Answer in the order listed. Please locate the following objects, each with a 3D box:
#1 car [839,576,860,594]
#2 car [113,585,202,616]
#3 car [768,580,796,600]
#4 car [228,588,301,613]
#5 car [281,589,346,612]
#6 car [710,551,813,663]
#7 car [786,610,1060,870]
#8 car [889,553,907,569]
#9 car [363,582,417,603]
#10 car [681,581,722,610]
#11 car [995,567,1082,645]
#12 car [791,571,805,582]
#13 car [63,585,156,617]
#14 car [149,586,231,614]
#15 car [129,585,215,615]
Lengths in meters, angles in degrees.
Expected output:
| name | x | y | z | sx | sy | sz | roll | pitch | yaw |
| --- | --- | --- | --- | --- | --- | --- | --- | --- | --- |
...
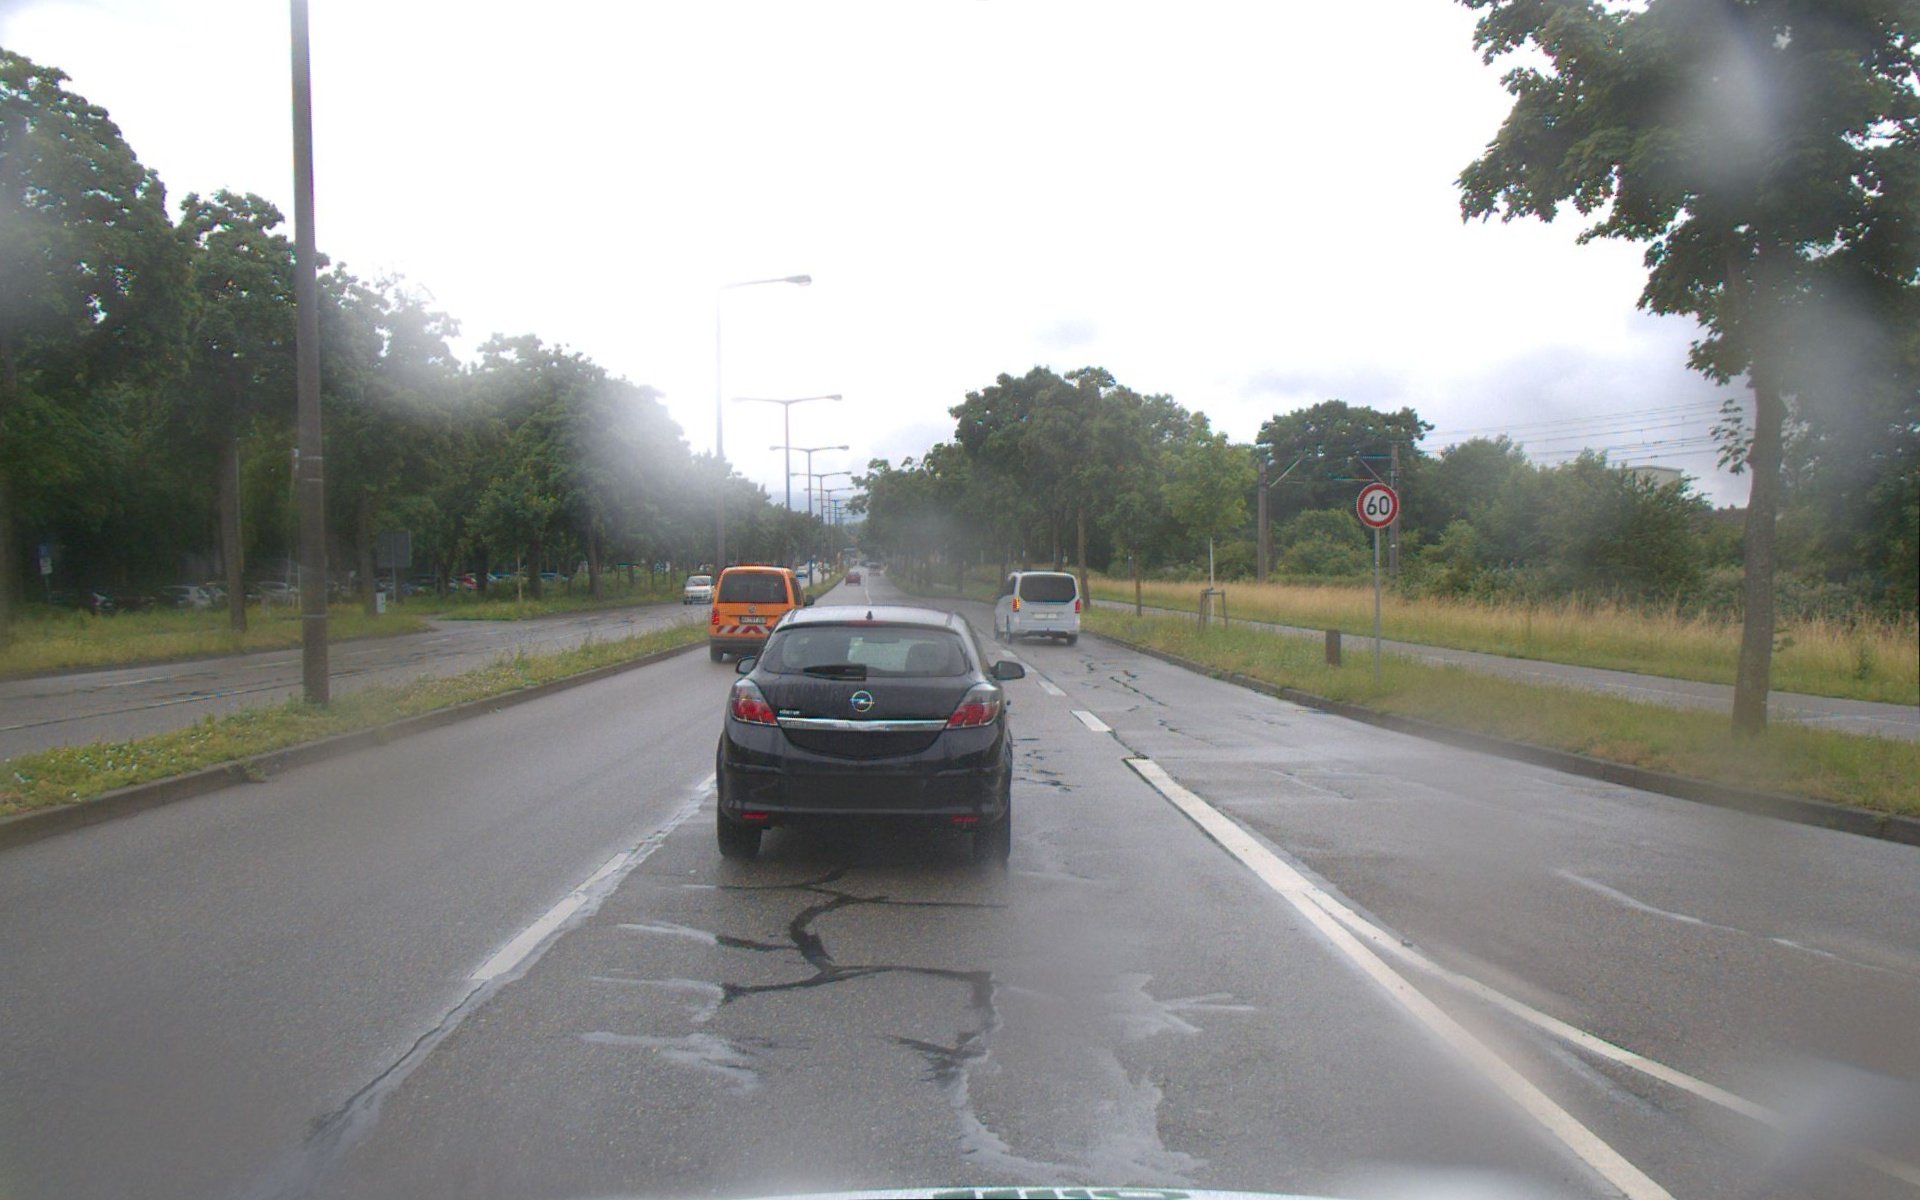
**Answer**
| name | x | y | z | sx | sy | sz | roll | pitch | yaw |
| --- | --- | --- | --- | --- | --- | --- | --- | --- | --- |
| car | -11.762 | -1.592 | 175.963 | 1.952 | 1.912 | 4.000 | 1 | 0 | 1 |
| car | -41.169 | 0.018 | 84.925 | 3.762 | 1.477 | 1.523 | -1 | 1 | -7 |
| car | -13.542 | -0.803 | 125.772 | 1.790 | 1.475 | 3.808 | 0 | 1 | -2 |
| car | -42.104 | 0.010 | 100.232 | 3.762 | 1.477 | 1.523 | -1 | 1 | -7 |
| car | -43.065 | 0.051 | 110.189 | 3.762 | 1.477 | 1.523 | -1 | 1 | -7 |
| car | -3.907 | 0.104 | 33.156 | 1.700 | 2.054 | 4.846 | 1 | 0 | -3 |
| car | -0.172 | 0.756 | 10.592 | 1.433 | 1.352 | 3.758 | 1 | -1 | 1 |
| car | -9.005 | -5.613 | 238.786 | 2.466 | 2.088 | 5.291 | 3 | 1 | -3 |
| car | -42.987 | -0.573 | 124.859 | 3.775 | 1.477 | 1.518 | -1 | 1 | -17 |
| car | -14.600 | -0.250 | 93.520 | 1.648 | 1.581 | 4.000 | 1 | 0 | 0 |
| car | 2.075 | 0.147 | 44.952 | 2.017 | 2.009 | 4.607 | 1 | 0 | -1 |
| car | -22.985 | -3.328 | 235.128 | 1.686 | 1.556 | 3.808 | 0 | 2 | -2 |
| car | -40.994 | 0.052 | 79.732 | 3.663 | 1.451 | 1.486 | -1 | 1 | -7 |
| car | -41.880 | -0.010 | 90.016 | 3.762 | 1.477 | 1.523 | -1 | 1 | -7 |
| car | -41.579 | -0.013 | 87.350 | 3.762 | 1.477 | 1.523 | -1 | 1 | -7 |
